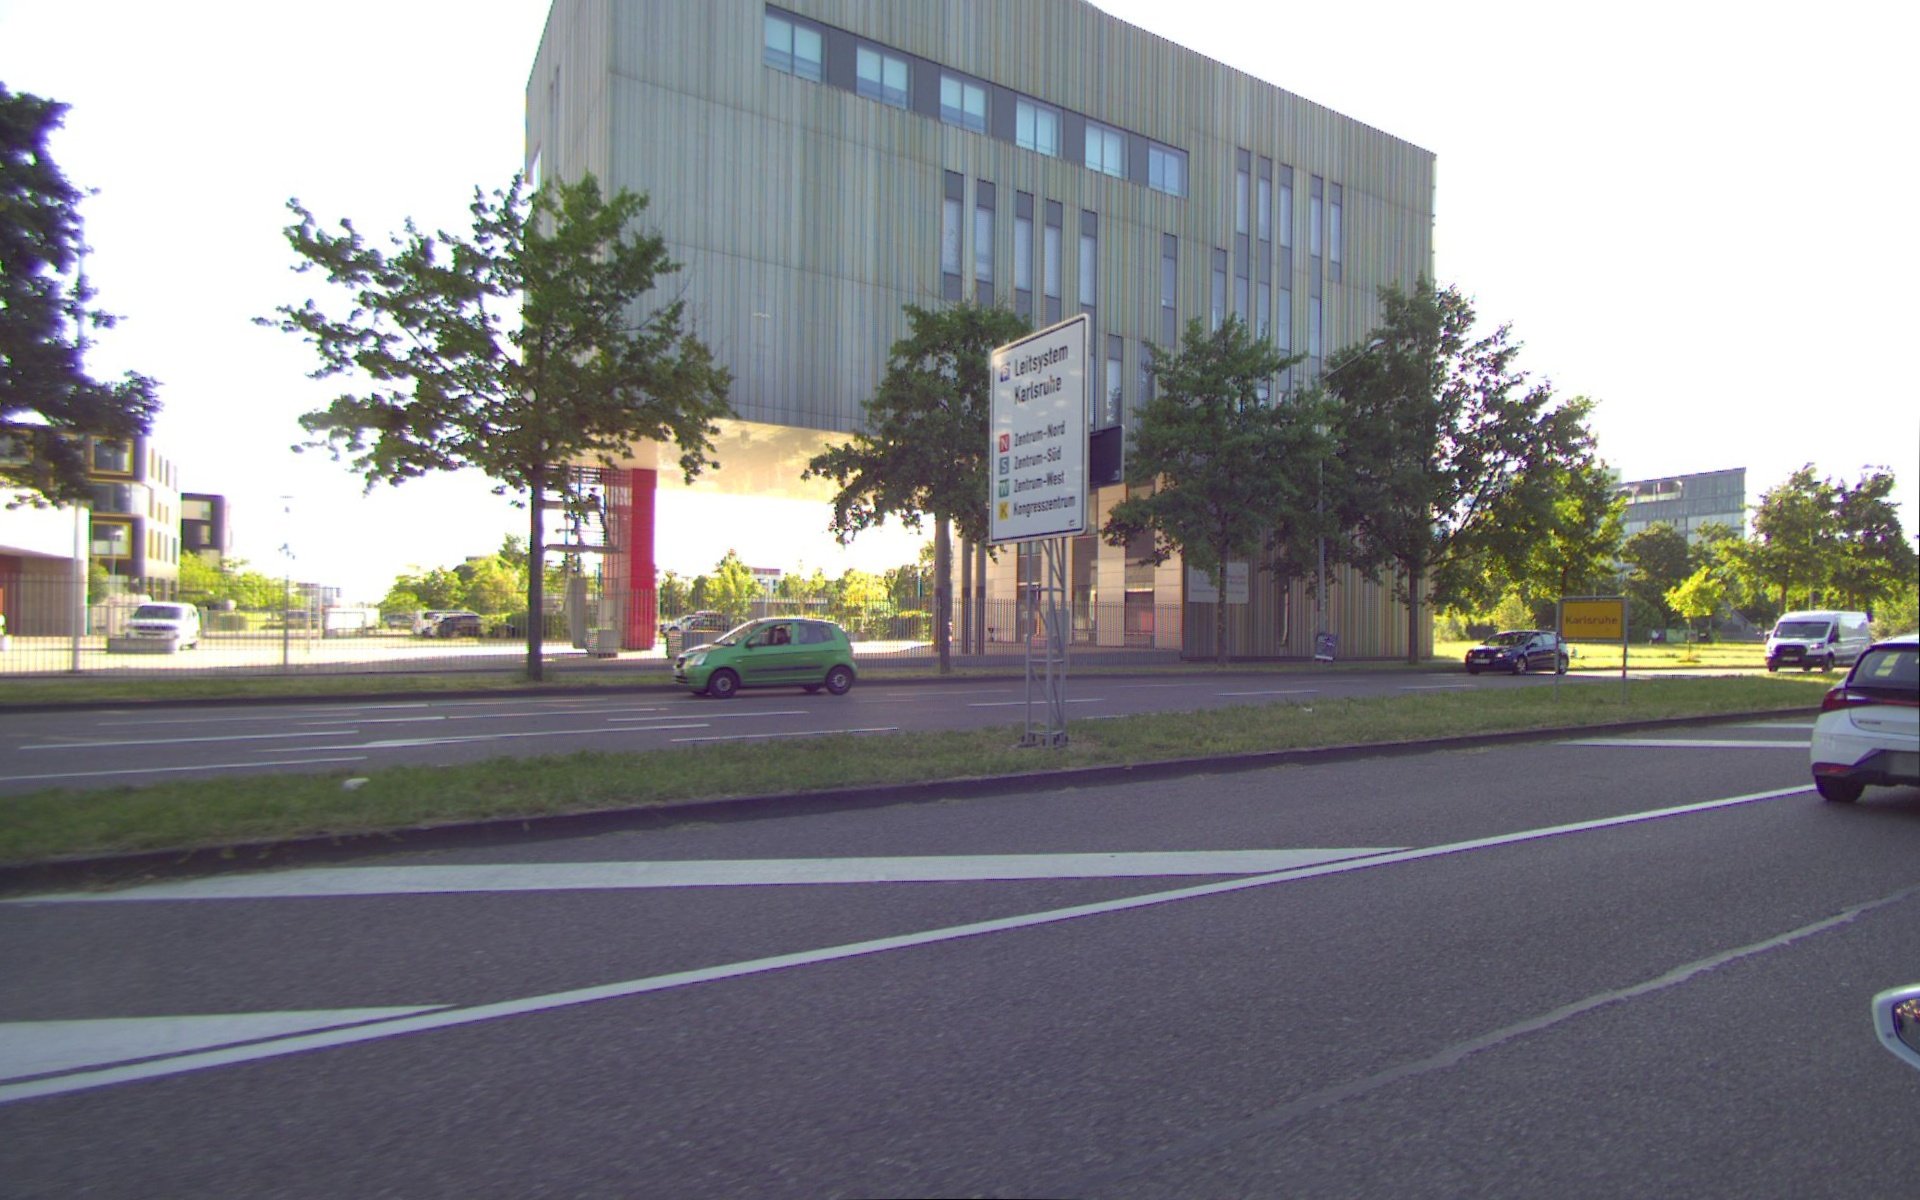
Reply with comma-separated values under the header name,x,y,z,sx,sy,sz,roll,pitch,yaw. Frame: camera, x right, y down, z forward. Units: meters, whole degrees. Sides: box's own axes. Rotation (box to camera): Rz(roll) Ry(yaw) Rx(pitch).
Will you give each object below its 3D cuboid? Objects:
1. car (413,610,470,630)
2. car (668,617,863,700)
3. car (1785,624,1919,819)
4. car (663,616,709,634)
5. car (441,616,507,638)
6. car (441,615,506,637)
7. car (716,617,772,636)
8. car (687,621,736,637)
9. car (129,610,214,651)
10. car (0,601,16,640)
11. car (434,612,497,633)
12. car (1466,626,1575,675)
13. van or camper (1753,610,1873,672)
name,x,y,z,sx,sy,sz,roll,pitch,yaw
car,-35.048,1.350,67.883,3.347,1.275,1.355,1,-1,-32
car,-3.741,1.083,19.483,3.422,1.455,1.438,1,-1,-33
car,8.896,0.950,8.468,4.028,1.427,1.769,1,0,-31
car,-22.288,2.054,81.742,3.406,1.401,1.422,2,-1,-34
car,-28.314,1.583,58.503,3.347,1.275,1.355,1,-1,-32
car,-28.976,1.564,59.874,3.347,1.275,1.355,1,-1,-32
car,-14.446,1.782,67.154,3.403,1.233,1.423,1,-1,-31
car,-19.206,2.231,77.690,3.403,1.233,1.423,1,-1,-31
car,-30.967,1.171,39.575,1.912,1.523,4.369,1,-1,-29
car,-36.267,0.748,36.580,1.741,1.472,4.237,1,-1,-29
car,-30.417,1.388,61.824,3.347,1.275,1.355,1,-1,-32
car,18.875,1.664,33.782,3.983,1.528,1.542,1,-1,-33
van or camper,34.864,1.661,41.005,5.926,2.400,1.983,1,-2,-32
